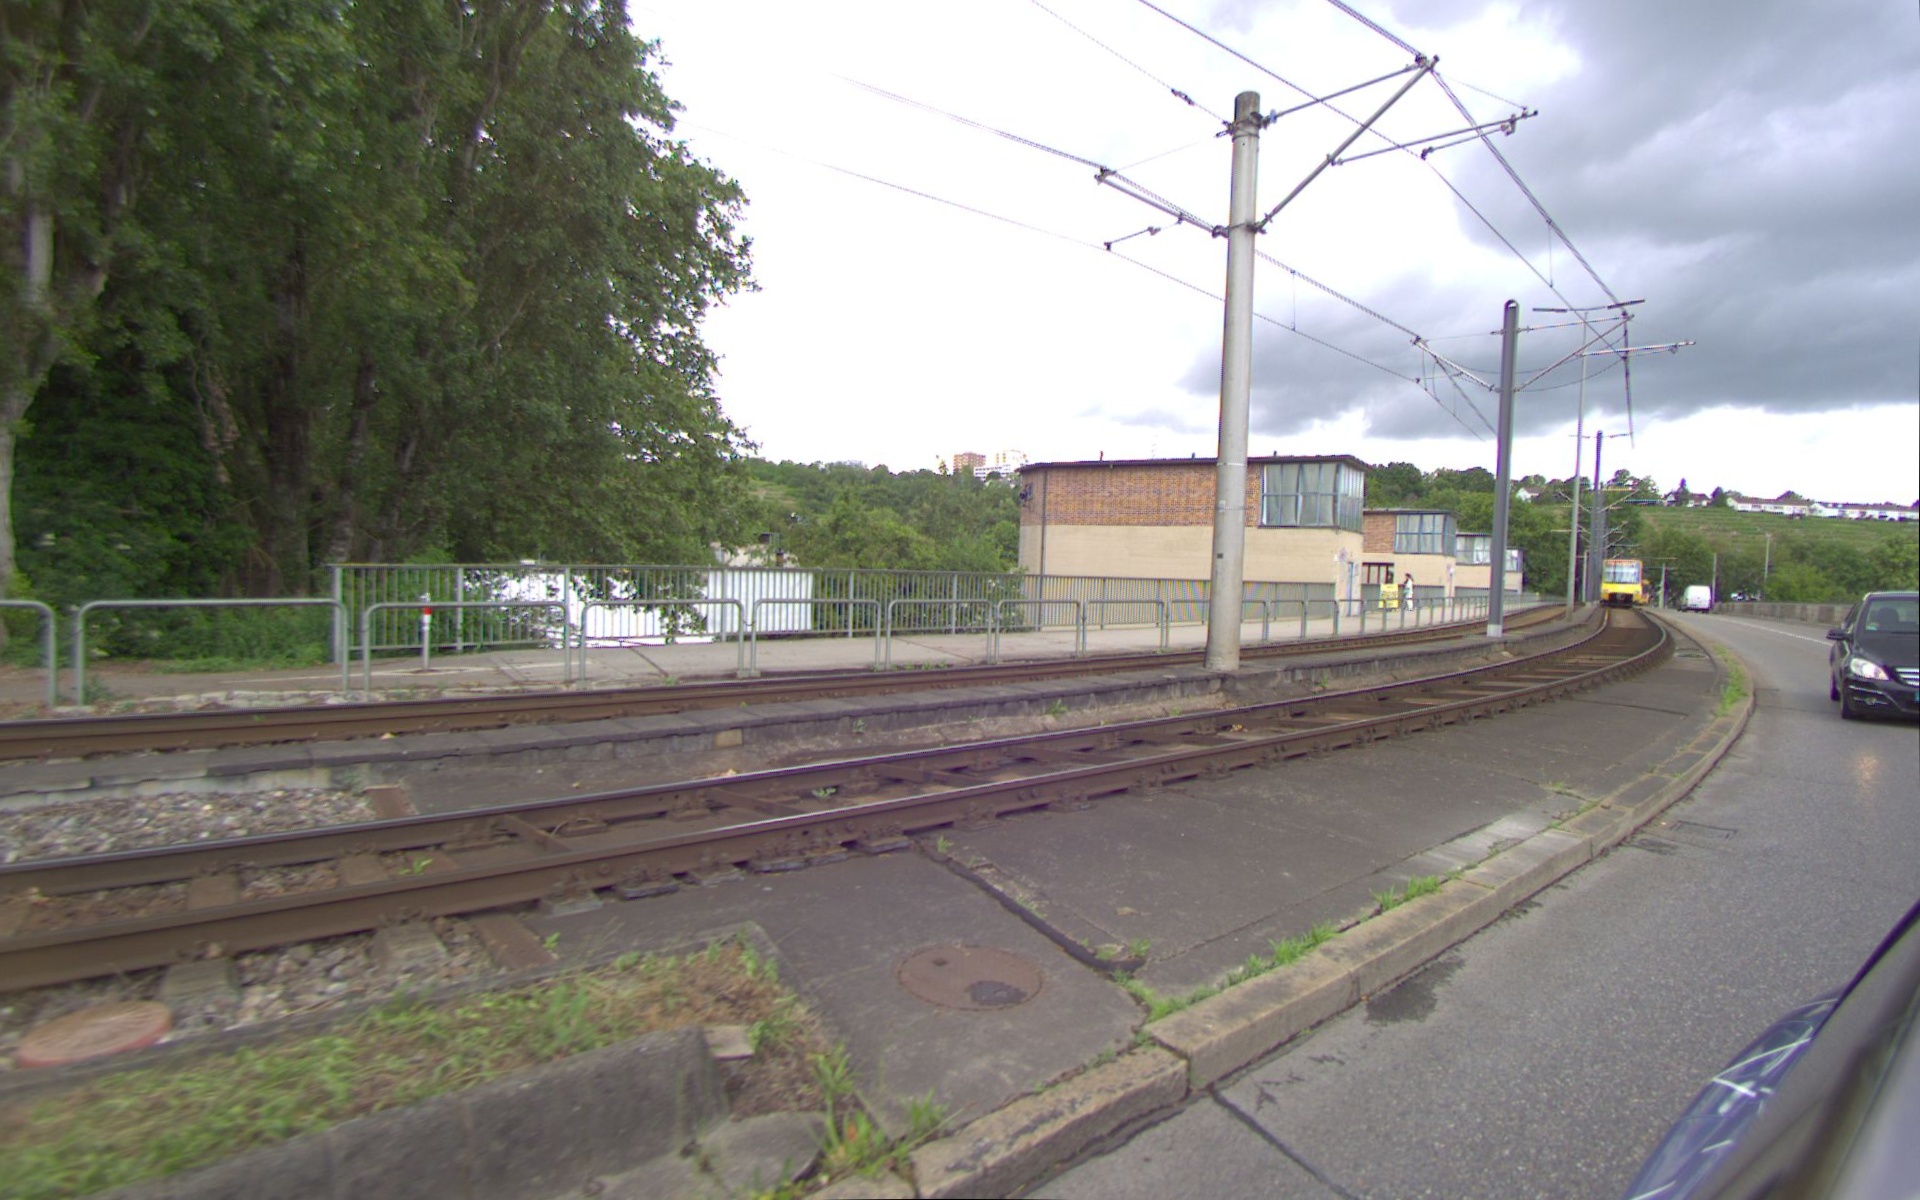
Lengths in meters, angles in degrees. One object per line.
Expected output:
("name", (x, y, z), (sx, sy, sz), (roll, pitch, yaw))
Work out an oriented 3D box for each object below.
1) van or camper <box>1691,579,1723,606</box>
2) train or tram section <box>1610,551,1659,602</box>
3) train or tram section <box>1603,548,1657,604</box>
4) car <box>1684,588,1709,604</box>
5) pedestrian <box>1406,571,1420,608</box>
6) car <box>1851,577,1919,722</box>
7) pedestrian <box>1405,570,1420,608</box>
("van or camper", (73.345, -0.732, 99.450), (2.141, 2.506, 4.656), (1, 1, 32))
("train or tram section", (56.871, -1.942, 85.262), (3.015, 3.967, 9.321), (3, 2, 36))
("train or tram section", (51.470, -1.796, 77.653), (3.015, 3.967, 9.321), (3, 2, 36))
("car", (80.035, -0.458, 109.983), (1.986, 1.593, 3.954), (1, 2, 33))
("pedestrian", (20.544, -0.479, 45.905), (0.507, 1.685, 0.348), (2, 1, 30))
("car", (12.488, 0.562, 12.687), (1.855, 1.642, 3.937), (0, 0, 43))
("pedestrian", (20.370, -0.486, 45.569), (0.507, 1.685, 0.348), (2, 1, 30))
